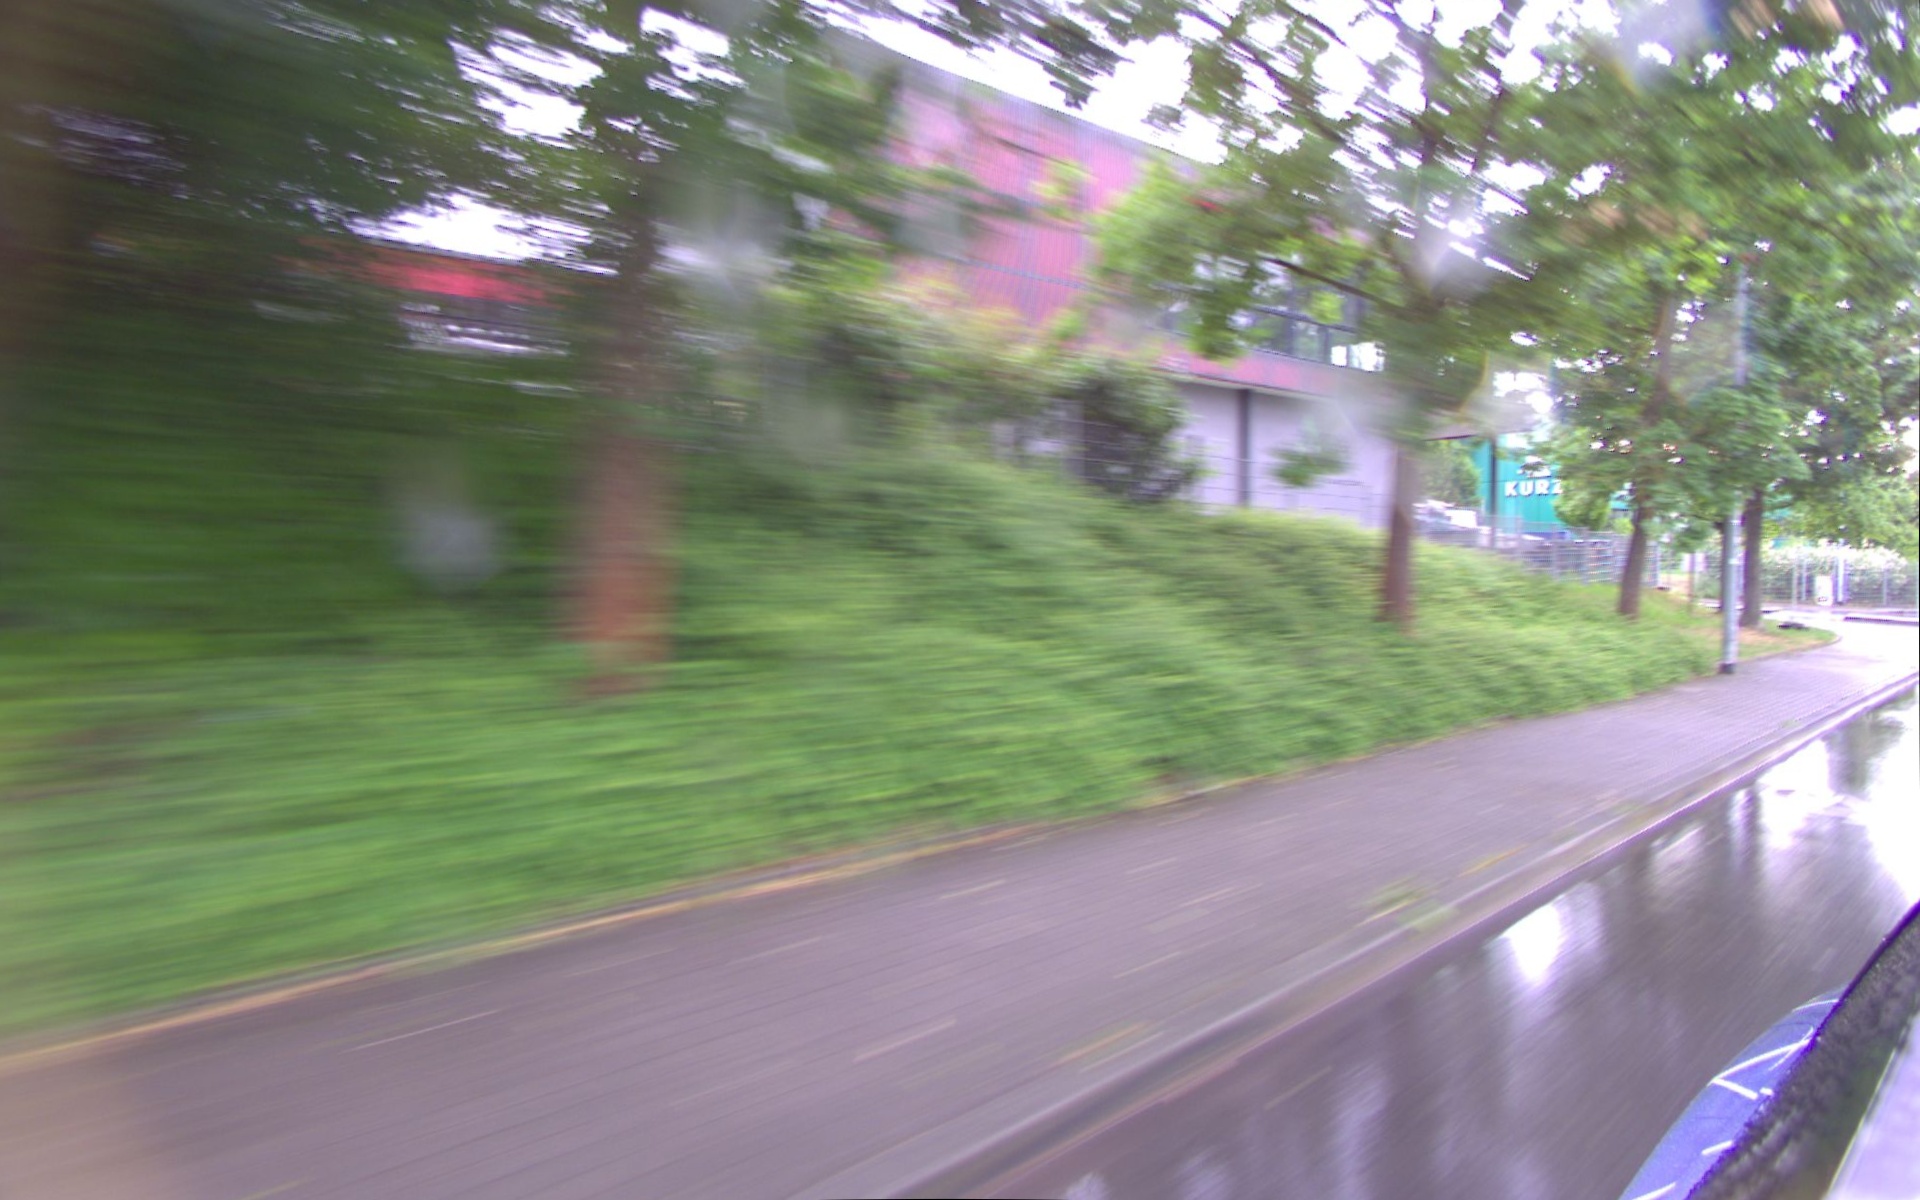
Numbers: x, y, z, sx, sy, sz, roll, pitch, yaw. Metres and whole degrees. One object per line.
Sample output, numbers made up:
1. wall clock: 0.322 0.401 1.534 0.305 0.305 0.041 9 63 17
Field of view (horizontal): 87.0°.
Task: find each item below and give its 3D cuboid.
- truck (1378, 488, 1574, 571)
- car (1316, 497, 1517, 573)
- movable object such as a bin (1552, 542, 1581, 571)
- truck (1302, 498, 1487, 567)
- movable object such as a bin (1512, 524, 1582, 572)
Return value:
1. truck: 15.800 -2.180 31.185 2.213 2.370 4.828 -1 5 -43
2. car: 13.358 -1.962 29.903 2.027 2.037 4.935 -1 5 -41
3. movable object such as a bin: 17.712 -1.277 29.567 0.556 0.827 0.539 -1 4 -40
4. truck: 15.424 -2.450 36.188 2.078 2.240 5.641 -1 5 -45
5. movable object such as a bin: 19.941 -1.778 34.399 1.849 1.518 1.294 5 5 37
